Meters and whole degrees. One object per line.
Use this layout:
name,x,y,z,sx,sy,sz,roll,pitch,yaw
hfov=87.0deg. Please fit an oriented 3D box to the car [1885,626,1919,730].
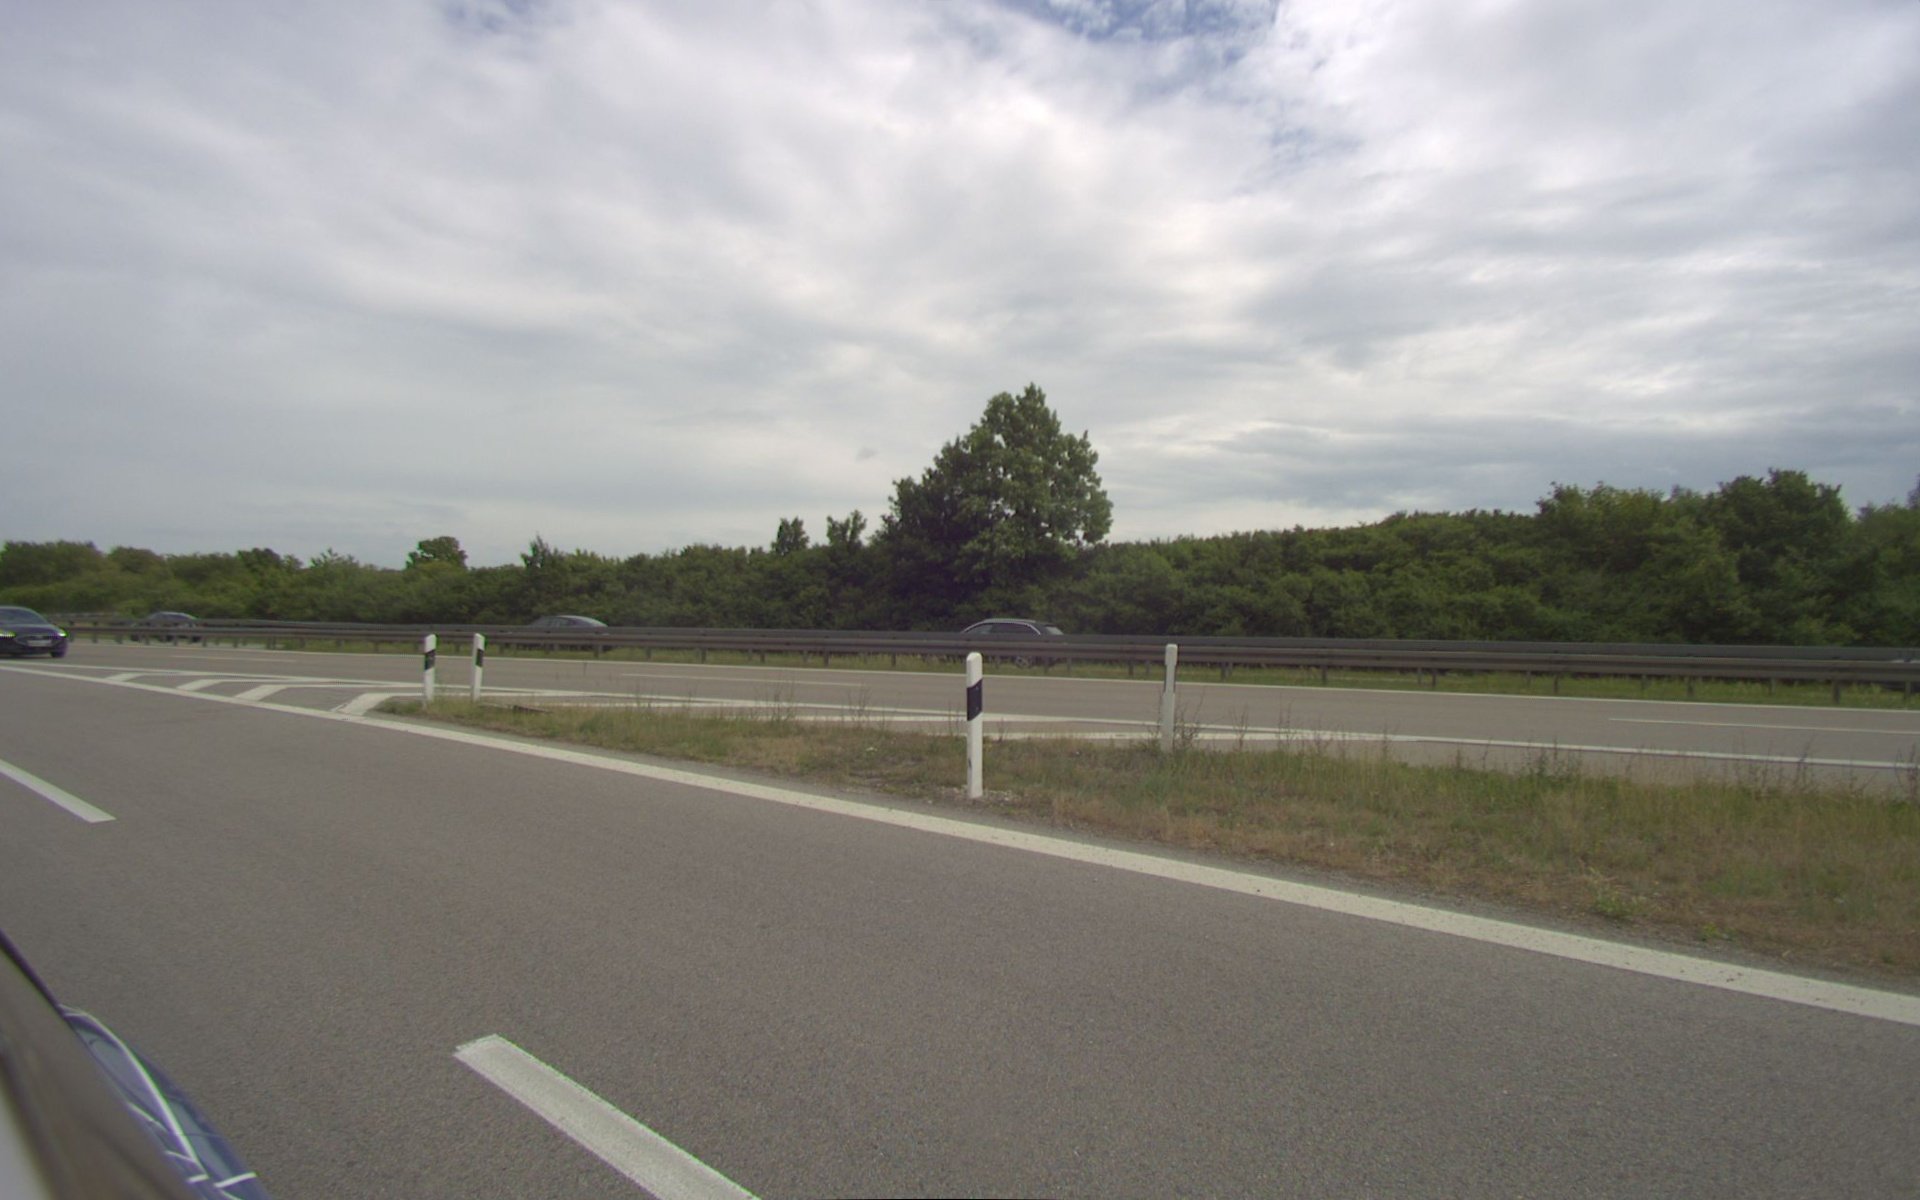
car,21.154,1.548,19.731,4.197,2.029,1.913,0,-1,28

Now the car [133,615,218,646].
car,-43.720,1.676,56.369,4.541,1.674,1.982,0,-1,27

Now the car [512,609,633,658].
car,-14.283,1.201,37.293,3.977,1.697,1.983,0,-1,25

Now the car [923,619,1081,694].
car,1.213,1.564,29.280,4.197,2.029,1.913,0,-1,28

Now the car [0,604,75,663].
car,-27.163,0.913,28.720,3.979,1.567,1.700,0,-1,26
